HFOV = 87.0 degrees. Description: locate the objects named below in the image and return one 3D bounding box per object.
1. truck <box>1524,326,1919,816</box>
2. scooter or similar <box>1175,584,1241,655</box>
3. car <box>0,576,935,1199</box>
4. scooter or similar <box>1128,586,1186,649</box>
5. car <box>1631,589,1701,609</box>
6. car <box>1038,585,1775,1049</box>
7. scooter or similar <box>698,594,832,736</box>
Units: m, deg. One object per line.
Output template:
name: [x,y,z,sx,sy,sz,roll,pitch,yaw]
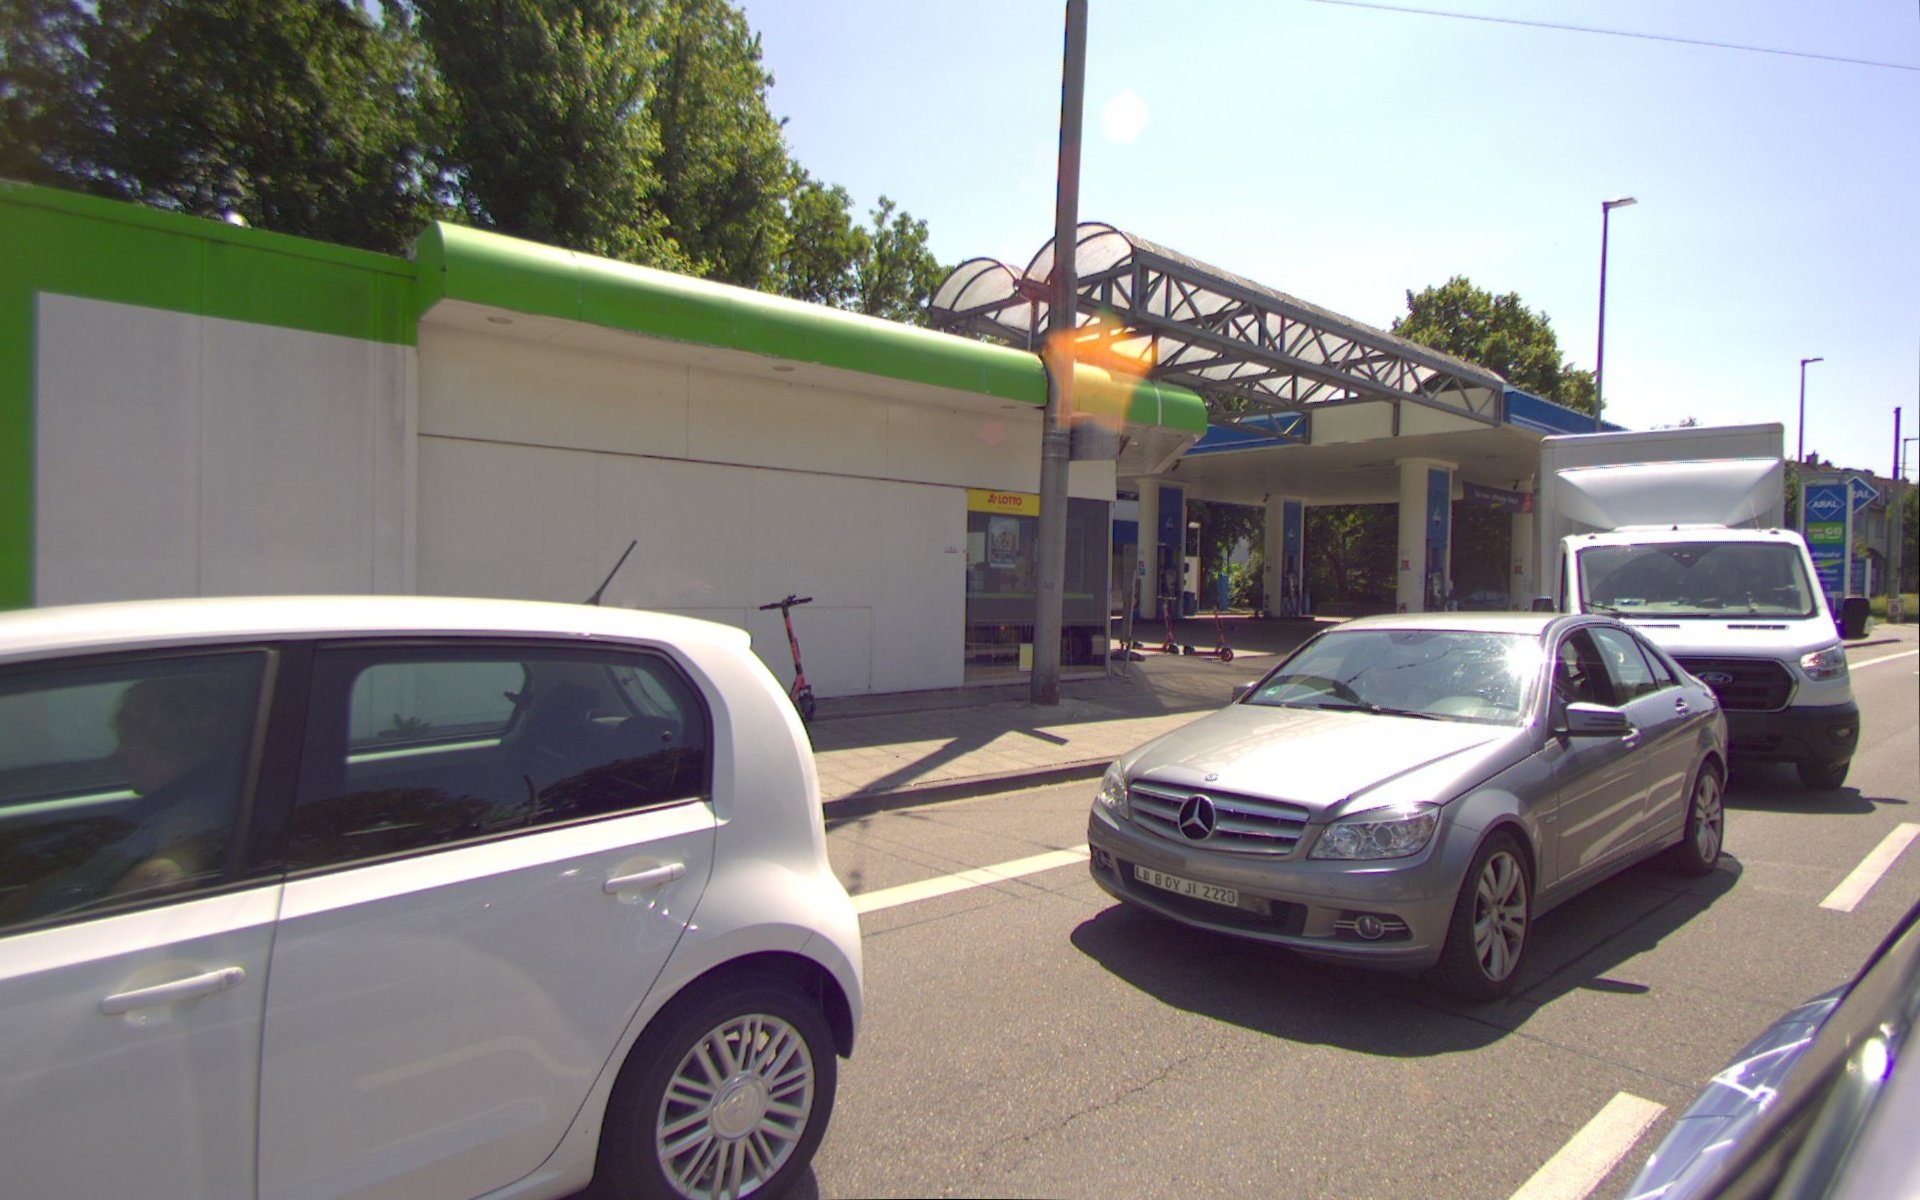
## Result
truck: [7.682,-0.274,10.990,2.405,3.434,7.759,1,1,27]
scooter or similar: [4.632,0.346,18.963,0.404,1.256,1.176,0,1,-39]
car: [-1.903,0.687,2.174,3.458,1.470,1.610,0,1,-40]
scooter or similar: [3.860,0.327,19.880,0.377,1.191,1.138,0,1,-39]
car: [56.738,-0.103,81.394,1.961,1.540,4.230,0,1,-32]
car: [2.600,0.681,5.330,4.339,1.467,1.800,0,1,-40]
scooter or similar: [-1.780,0.562,9.282,1.117,1.209,0.384,0,4,-36]
